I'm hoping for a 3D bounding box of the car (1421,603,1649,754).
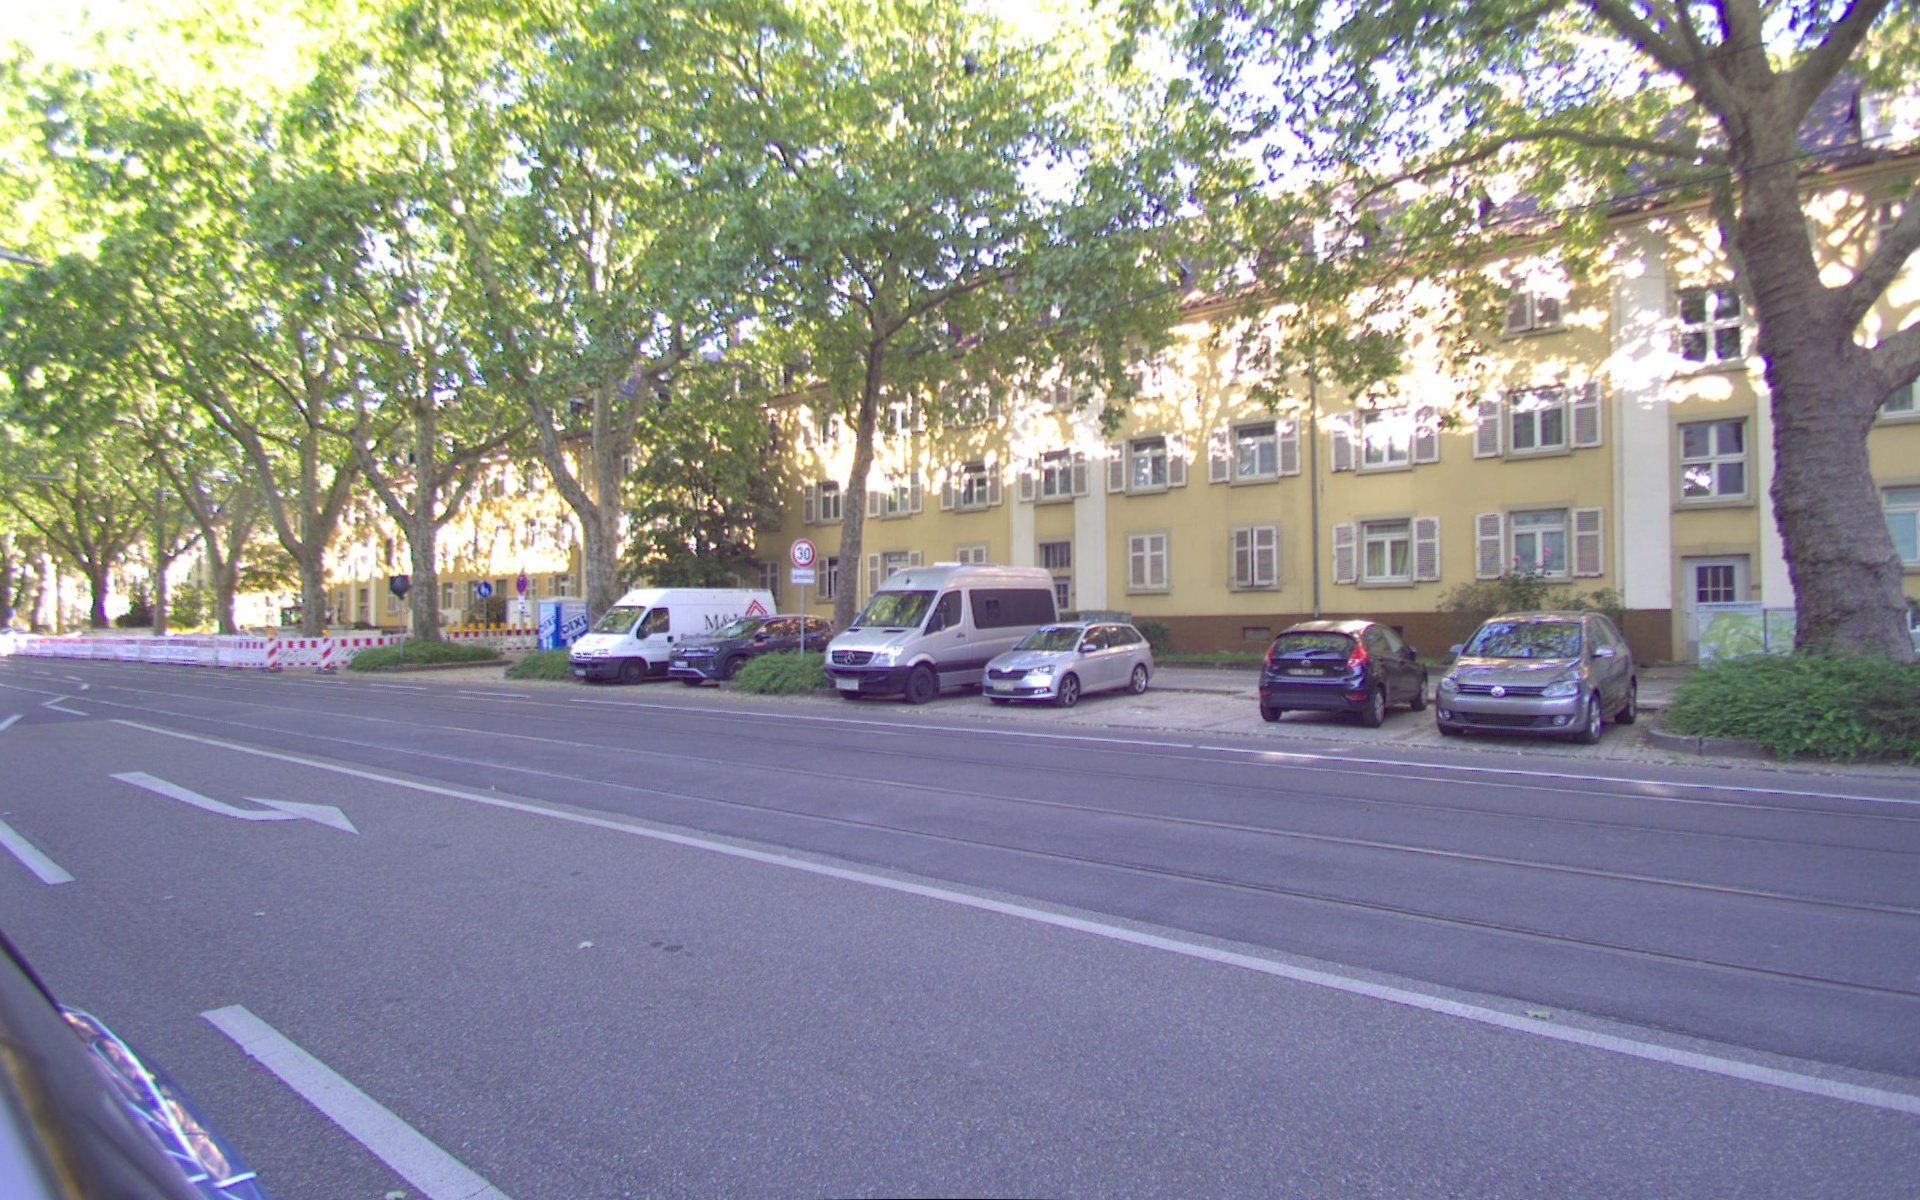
[{"bbox_3d":[7.667,0.879,13.320,1.844,1.631,4.028,-1,0,41],"label":"car"}]

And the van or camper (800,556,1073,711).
[{"bbox_3d":[-0.270,0.563,20.337,2.154,2.668,5.857,-1,0,40],"label":"van or camper"}]

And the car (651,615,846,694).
[{"bbox_3d":[-4.975,1.219,24.333,1.693,1.645,4.481,-1,0,41],"label":"car"}]

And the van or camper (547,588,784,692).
[{"bbox_3d":[-7.490,0.916,26.345,2.154,2.403,5.690,-1,0,40],"label":"van or camper"}]

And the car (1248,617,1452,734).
[{"bbox_3d":[6.012,1.028,15.380,1.693,1.457,3.811,-1,0,41],"label":"car"}]

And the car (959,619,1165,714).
[{"bbox_3d":[1.999,1.139,18.779,1.693,1.457,4.221,-1,0,41],"label":"car"}]
